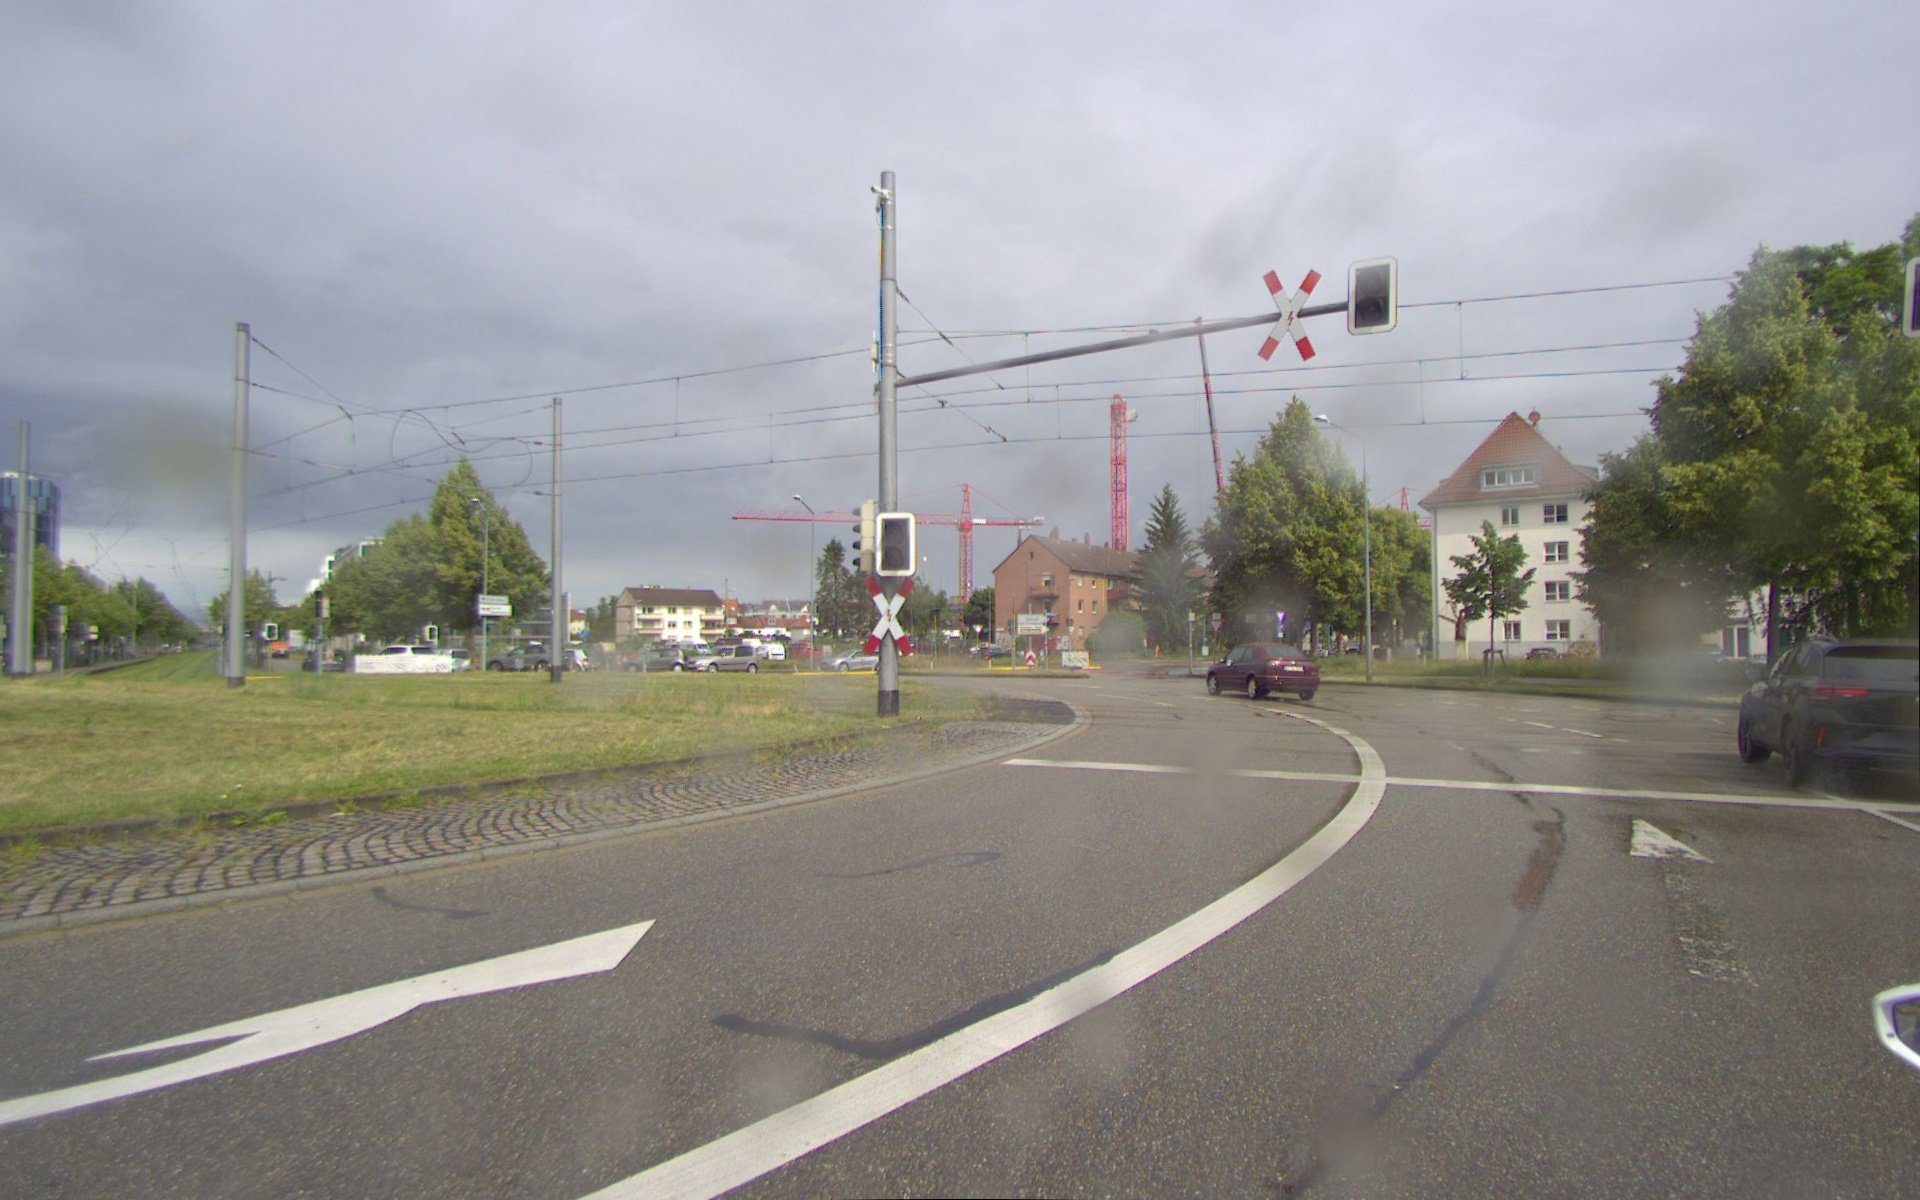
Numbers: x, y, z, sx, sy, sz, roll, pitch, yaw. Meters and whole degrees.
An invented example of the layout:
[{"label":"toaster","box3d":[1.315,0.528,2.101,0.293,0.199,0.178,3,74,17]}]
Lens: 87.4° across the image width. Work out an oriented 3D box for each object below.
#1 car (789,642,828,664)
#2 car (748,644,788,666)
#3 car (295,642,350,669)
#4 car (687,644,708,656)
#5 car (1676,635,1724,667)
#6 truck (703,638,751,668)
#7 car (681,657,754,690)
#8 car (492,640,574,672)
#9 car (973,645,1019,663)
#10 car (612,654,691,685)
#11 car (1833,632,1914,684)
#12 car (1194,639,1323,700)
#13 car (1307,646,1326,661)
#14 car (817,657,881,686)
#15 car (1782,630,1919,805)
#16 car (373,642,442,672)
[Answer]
[{"label":"car","box3d":[-13.081,4.586,86.796,1.909,1.723,3.965,1,-1,-32]},{"label":"car","box3d":[-16.698,4.800,87.373,1.840,1.722,3.959,2,-1,-36]},{"label":"car","box3d":[-38.773,3.368,61.030,3.942,1.537,1.794,-3,-3,41]},{"label":"car","box3d":[-34.820,6.614,133.195,1.535,1.581,3.465,1,-3,-36]},{"label":"car","box3d":[41.156,2.827,55.917,1.820,1.573,4.095,-2,-1,32]},{"label":"truck","box3d":[-19.230,4.301,82.669,2.367,2.241,6.058,1,-1,-27]},{"label":"car","box3d":[-12.765,3.863,53.030,3.472,1.581,1.532,1,-2,-41]},{"label":"car","box3d":[-21.930,2.894,51.641,3.603,1.581,1.575,-1,-2,9]},{"label":"car","box3d":[3.333,5.029,93.426,4.002,1.654,1.608,1,-3,-24]},{"label":"car","box3d":[-16.957,3.810,55.347,3.928,1.606,1.795,0,-2,-10]},{"label":"car","box3d":[39.518,2.464,43.573,2.080,2.084,5.141,-3,-3,37]},{"label":"car","box3d":[7.865,1.806,26.856,1.689,1.481,3.994,-1,-2,-9]},{"label":"car","box3d":[37.486,5.646,105.707,1.521,1.473,3.497,-2,-2,25]},{"label":"car","box3d":[-6.595,4.253,59.921,3.516,1.581,1.584,1,-2,-36]},{"label":"car","box3d":[10.309,1.192,10.920,1.873,1.639,3.987,-1,-3,36]},{"label":"car","box3d":[-29.885,3.068,54.326,3.433,1.530,1.499,-1,-2,23]}]
